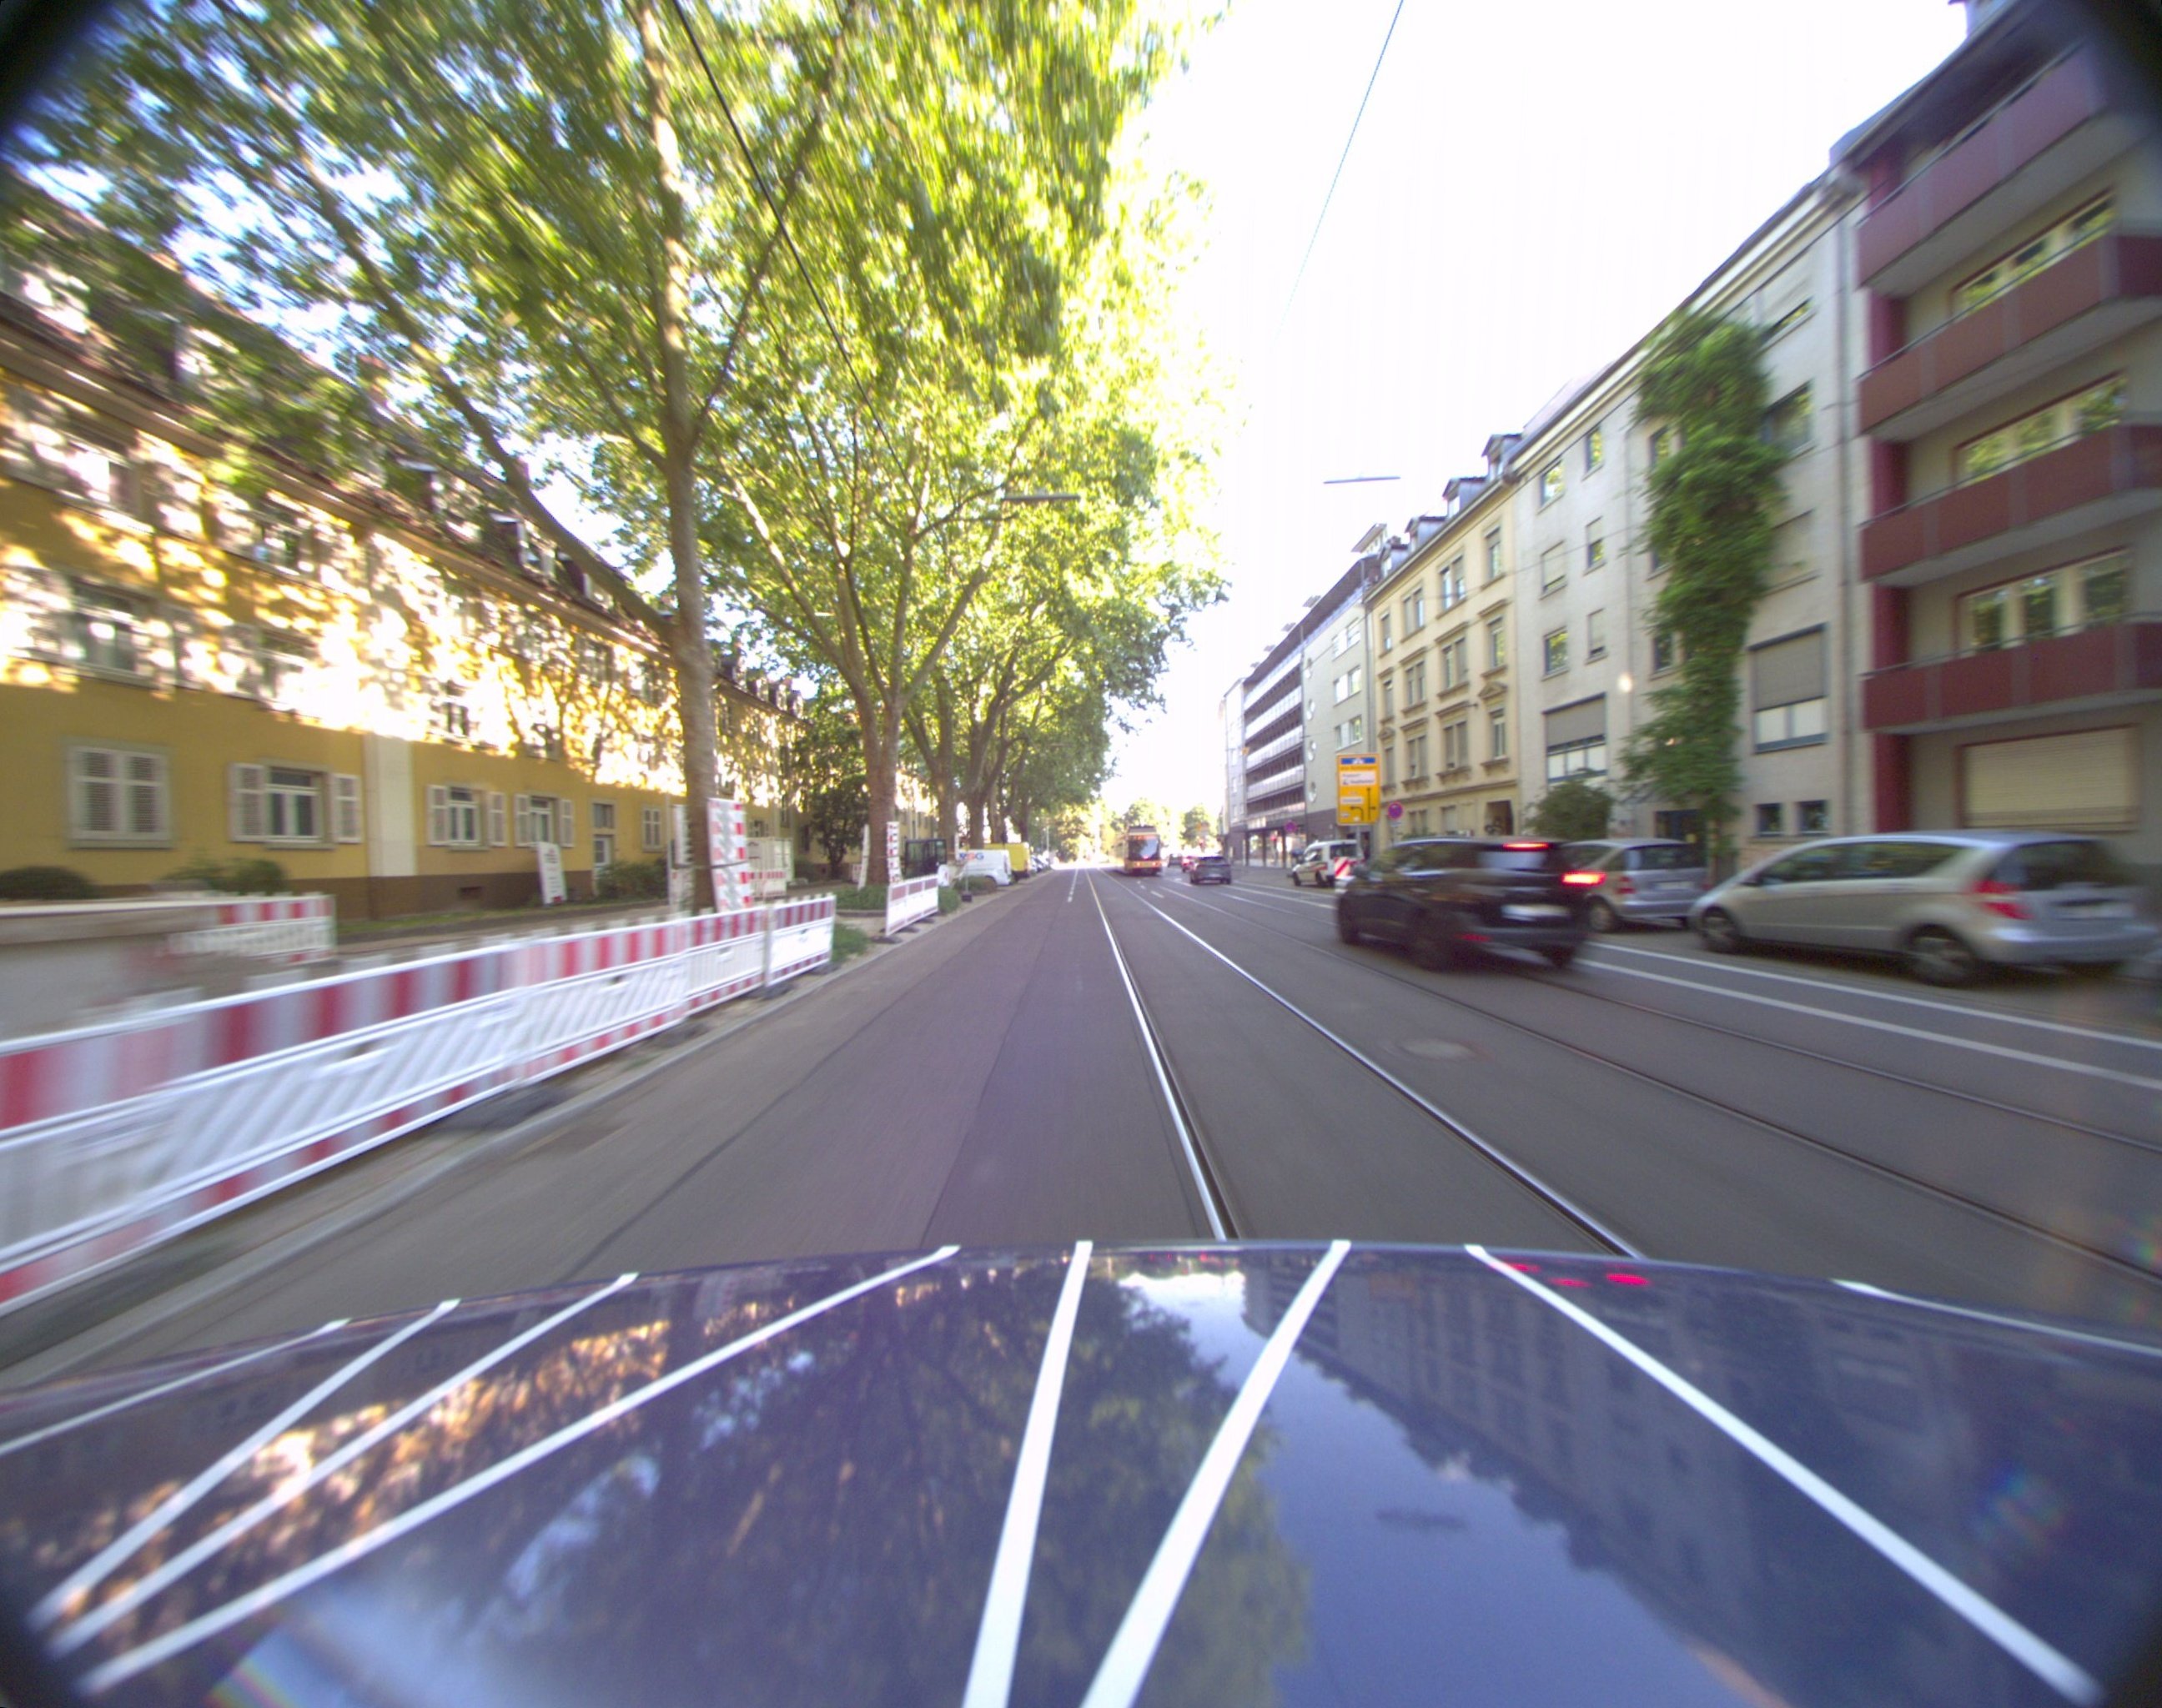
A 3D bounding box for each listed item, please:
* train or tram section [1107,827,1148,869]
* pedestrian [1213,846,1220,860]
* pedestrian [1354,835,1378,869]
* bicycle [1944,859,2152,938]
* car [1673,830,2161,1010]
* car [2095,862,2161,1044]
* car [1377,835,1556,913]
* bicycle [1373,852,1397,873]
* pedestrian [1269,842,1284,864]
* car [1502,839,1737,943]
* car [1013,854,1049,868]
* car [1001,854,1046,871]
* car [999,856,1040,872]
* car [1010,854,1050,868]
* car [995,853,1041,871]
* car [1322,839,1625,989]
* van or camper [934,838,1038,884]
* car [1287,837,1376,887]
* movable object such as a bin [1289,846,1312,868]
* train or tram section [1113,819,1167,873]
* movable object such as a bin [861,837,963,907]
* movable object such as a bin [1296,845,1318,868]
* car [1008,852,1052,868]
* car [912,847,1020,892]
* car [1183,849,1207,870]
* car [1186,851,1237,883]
[{"bbox_3d":[4.132,-0.526,70.936,2.916,3.466,13.368,-2,0,0],"label":"train or tram section"},{"bbox_3d":[16.714,-0.159,93.725,0.716,1.664,0.905,-2,1,14],"label":"pedestrian"},{"bbox_3d":[15.827,-0.126,42.142,0.965,1.803,0.729,-4,1,1],"label":"pedestrian"},{"bbox_3d":[14.404,0.639,11.343,2.296,0.987,0.699,-4,1,-3],"label":"bicycle"},{"bbox_3d":[9.549,0.596,9.002,1.824,1.577,4.004,-3,0,-2],"label":"car"},{"bbox_3d":[9.363,0.743,3.849,1.957,1.387,4.862,-4,0,1],"label":"car"},{"bbox_3d":[9.562,0.420,19.392,1.957,1.639,4.880,-3,1,-1],"label":"car"},{"bbox_3d":[14.753,0.393,36.910,0.648,0.965,2.140,-3,0,11],"label":"bicycle"},{"bbox_3d":[15.448,-0.090,60.055,0.789,1.703,0.820,-5,1,0],"label":"pedestrian"},{"bbox_3d":[9.560,0.555,13.904,1.630,1.563,3.781,-3,1,1],"label":"car"},{"bbox_3d":[-5.468,0.801,83.562,3.891,1.488,1.741,-1,0,-3],"label":"car"},{"bbox_3d":[-5.800,0.848,76.999,4.437,1.648,1.907,-1,1,-1],"label":"car"},{"bbox_3d":[-5.753,0.923,71.506,3.660,1.416,1.866,1,0,1],"label":"car"},{"bbox_3d":[-5.779,0.811,86.333,4.411,1.514,1.818,-1,0,1],"label":"car"},{"bbox_3d":[-6.181,0.814,74.667,4.318,1.721,1.841,0,0,4],"label":"car"},{"bbox_3d":[4.971,0.634,10.468,1.858,1.591,4.463,-1,1,0],"label":"car"},{"bbox_3d":[-5.743,0.388,46.353,5.940,2.614,2.270,-1,2,2],"label":"van or camper"},{"bbox_3d":[9.846,0.297,30.231,1.793,1.760,4.469,-3,0,-3],"label":"car"},{"bbox_3d":[14.849,0.170,51.499,1.142,1.442,1.213,-2,1,-4],"label":"movable object such as a bin"},{"bbox_3d":[4.168,-0.579,57.115,2.916,3.466,14.196,-2,0,0],"label":"train or tram section"},{"bbox_3d":[-5.853,0.576,26.604,1.482,2.256,3.283,-1,1,34],"label":"movable object such as a bin"},{"bbox_3d":[14.950,0.173,50.269,1.059,1.442,1.210,-2,1,-4],"label":"movable object such as a bin"},{"bbox_3d":[-6.081,0.750,91.422,5.126,1.845,1.914,0,1,0],"label":"car"},{"bbox_3d":[-5.494,0.736,36.772,4.847,2.001,2.063,-1,0,0],"label":"car"},{"bbox_3d":[9.090,0.392,61.052,1.799,1.438,4.717,-1,3,7],"label":"car"},{"bbox_3d":[6.279,0.579,37.006,1.800,1.437,4.052,-1,0,0],"label":"car"}]
